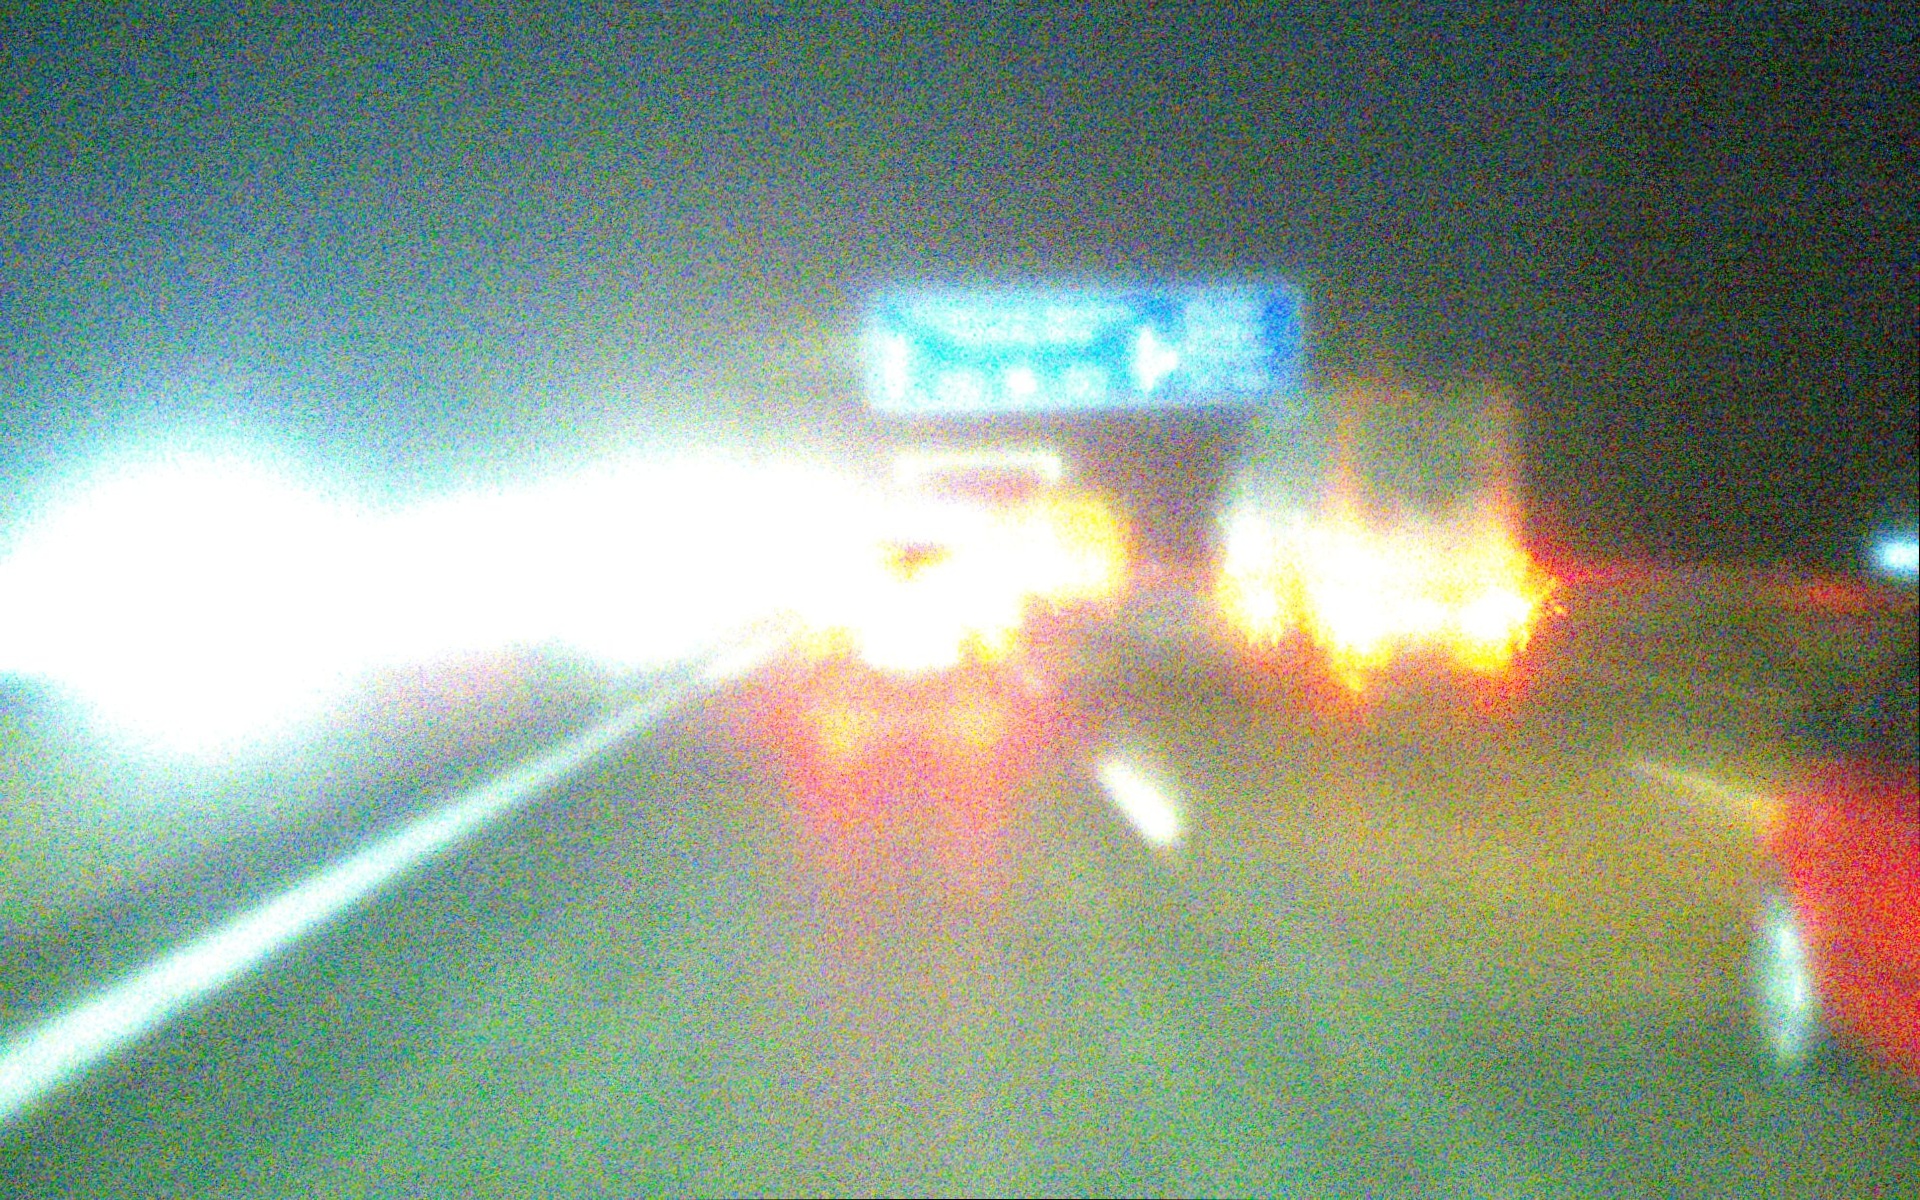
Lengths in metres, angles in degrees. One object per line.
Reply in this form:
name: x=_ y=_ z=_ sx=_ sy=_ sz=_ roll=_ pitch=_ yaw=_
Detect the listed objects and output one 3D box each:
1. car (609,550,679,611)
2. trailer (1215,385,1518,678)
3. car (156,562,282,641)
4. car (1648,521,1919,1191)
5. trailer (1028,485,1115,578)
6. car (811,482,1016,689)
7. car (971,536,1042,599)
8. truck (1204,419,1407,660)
car: x=-10.701 y=-0.689 z=116.740 sx=1.993 sy=2.007 sz=4.451 roll=-1 pitch=1 yaw=-1
trailer: x=6.326 y=-1.035 z=56.211 sx=2.903 sy=4.094 sz=14.488 roll=-2 pitch=0 yaw=-1
car: x=-17.608 y=0.019 z=81.870 sx=1.993 sy=1.753 sz=4.591 roll=-1 pitch=1 yaw=-1
car: x=3.103 y=0.594 z=8.667 sx=1.740 sy=1.570 sz=4.494 roll=0 pitch=0 yaw=-1
trailer: x=5.296 y=-3.213 z=166.073 sx=3.041 sy=4.095 sz=13.829 roll=-2 pitch=0 yaw=-2
car: x=-0.503 y=-0.129 z=35.805 sx=1.993 sy=2.007 sz=4.000 roll=1 pitch=-1 yaw=-1
car: x=1.559 y=-1.070 z=116.565 sx=1.993 sy=2.007 sz=4.000 roll=-2 pitch=0 yaw=-4
truck: x=6.223 y=-1.076 z=62.781 sx=2.903 sy=4.094 sz=6.031 roll=-2 pitch=0 yaw=-1
